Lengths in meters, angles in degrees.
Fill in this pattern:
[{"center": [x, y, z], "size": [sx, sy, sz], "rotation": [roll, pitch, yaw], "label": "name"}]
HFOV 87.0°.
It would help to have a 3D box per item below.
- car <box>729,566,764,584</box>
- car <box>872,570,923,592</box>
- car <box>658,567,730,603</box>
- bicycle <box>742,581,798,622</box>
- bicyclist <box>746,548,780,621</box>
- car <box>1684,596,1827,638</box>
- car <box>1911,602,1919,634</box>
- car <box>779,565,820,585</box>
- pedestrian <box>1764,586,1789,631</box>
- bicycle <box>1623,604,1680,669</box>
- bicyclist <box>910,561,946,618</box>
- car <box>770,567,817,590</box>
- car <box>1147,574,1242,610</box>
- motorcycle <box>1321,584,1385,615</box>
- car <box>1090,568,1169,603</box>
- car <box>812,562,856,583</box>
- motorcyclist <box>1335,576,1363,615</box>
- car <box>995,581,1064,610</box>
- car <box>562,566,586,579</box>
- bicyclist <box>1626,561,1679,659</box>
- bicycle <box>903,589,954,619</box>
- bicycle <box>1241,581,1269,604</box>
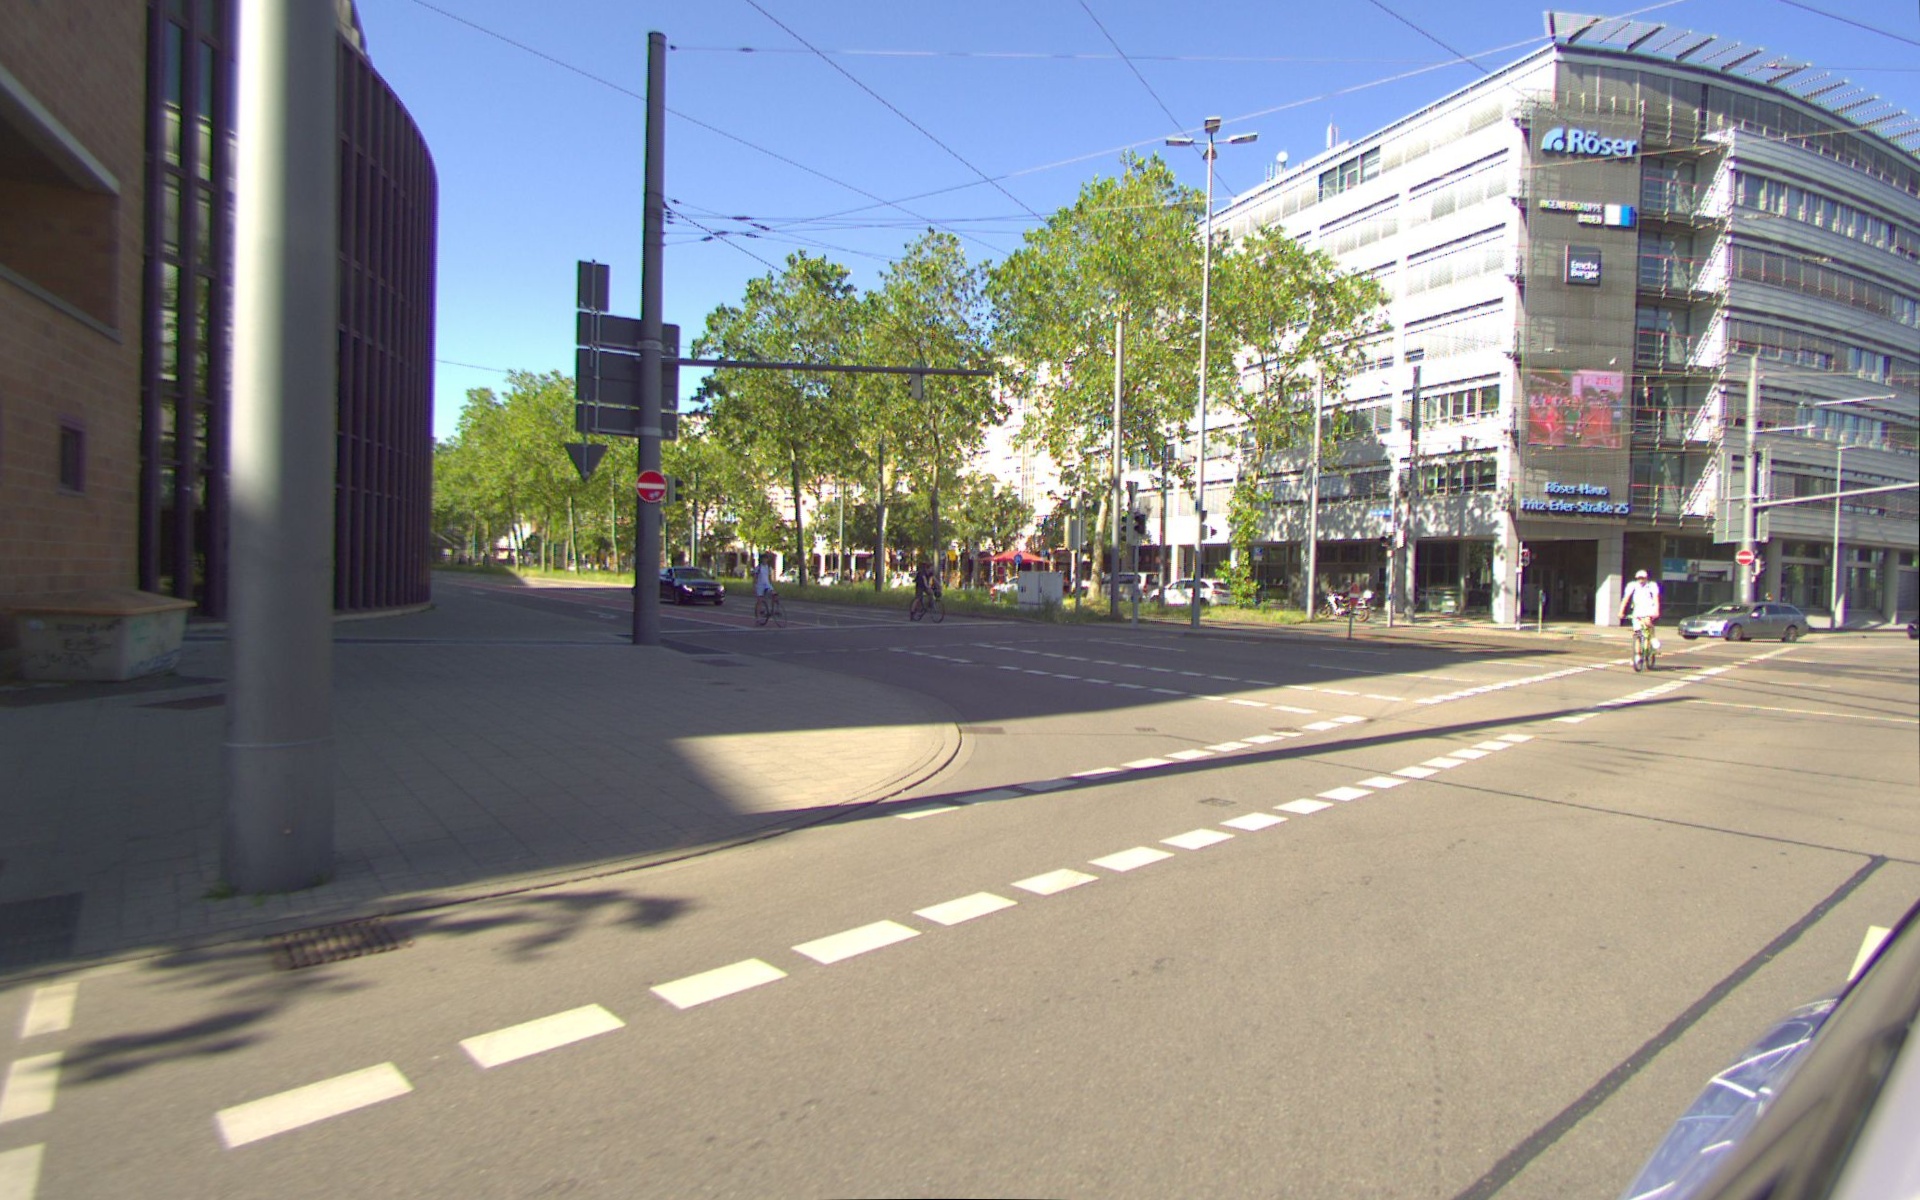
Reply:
[{"center": [-21.555, -2.482, 102.075], "size": [1.877, 1.604, 3.995], "rotation": [3, -2, -39], "label": "car"}, {"center": [-4.811, -1.431, 77.552], "size": [1.877, 1.604, 3.995], "rotation": [3, -2, -39], "label": "car"}, {"center": [-10.400, -0.614, 39.415], "size": [1.703, 1.282, 4.005], "rotation": [1, 2, -30], "label": "car"}, {"center": [-5.048, 0.038, 26.774], "size": [0.662, 1.007, 1.671], "rotation": [0, 2, -43], "label": "bicycle"}, {"center": [-5.246, -0.424, 26.964], "size": [0.640, 1.907, 0.606], "rotation": [1, 1, -43], "label": "bicyclist"}, {"center": [29.535, 0.617, 37.585], "size": [4.687, 1.413, 1.731], "rotation": [1, 1, -16], "label": "car"}, {"center": [44.879, 0.854, 45.467], "size": [4.542, 1.440, 1.730], "rotation": [1, 1, -27], "label": "car"}, {"center": [-14.482, -2.239, 91.047], "size": [1.877, 1.604, 3.995], "rotation": [3, -2, -39], "label": "car"}, {"center": [34.386, 0.342, 42.625], "size": [0.603, 1.820, 0.634], "rotation": [4, 2, 27], "label": "pedestrian"}, {"center": [13.041, 0.655, 19.113], "size": [0.645, 1.124, 1.741], "rotation": [2, 1, 28], "label": "bicycle"}, {"center": [-0.949, -0.320, 30.115], "size": [0.659, 1.650, 0.865], "rotation": [1, 1, -37], "label": "bicyclist"}, {"center": [-13.136, -1.671, 79.628], "size": [1.877, 1.604, 3.995], "rotation": [3, -2, -39], "label": "car"}, {"center": [11.091, -0.366, 48.096], "size": [1.877, 1.604, 4.134], "rotation": [2, -1, -39], "label": "car"}, {"center": [16.195, -0.021, 41.733], "size": [2.372, 1.216, 0.822], "rotation": [1, 0, 32], "label": "motorcycle"}, {"center": [9.567, -0.854, 57.377], "size": [1.786, 1.875, 4.391], "rotation": [0, 2, -36], "label": "car"}, {"center": [-10.711, -2.352, 85.871], "size": [1.877, 1.604, 3.995], "rotation": [3, -2, -39], "label": "car"}, {"center": [16.053, -0.206, 41.761], "size": [0.935, 1.581, 0.822], "rotation": [1, 0, 33], "label": "motorcyclist"}, {"center": [3.852, -0.233, 56.699], "size": [1.874, 1.561, 4.142], "rotation": [2, -1, -30], "label": "car"}, {"center": [-54.087, -3.863, 141.696], "size": [1.877, 1.604, 3.995], "rotation": [3, -2, -39], "label": "car"}, {"center": [13.069, 0.177, 19.122], "size": [0.645, 1.774, 1.035], "rotation": [3, 1, 27], "label": "bicyclist"}, {"center": [-0.961, 0.111, 30.108], "size": [0.661, 0.816, 1.674], "rotation": [1, 2, -37], "label": "bicycle"}, {"center": [16.617, -0.405, 57.053], "size": [1.696, 1.235, 0.469], "rotation": [1, 2, -32], "label": "bicycle"}]
